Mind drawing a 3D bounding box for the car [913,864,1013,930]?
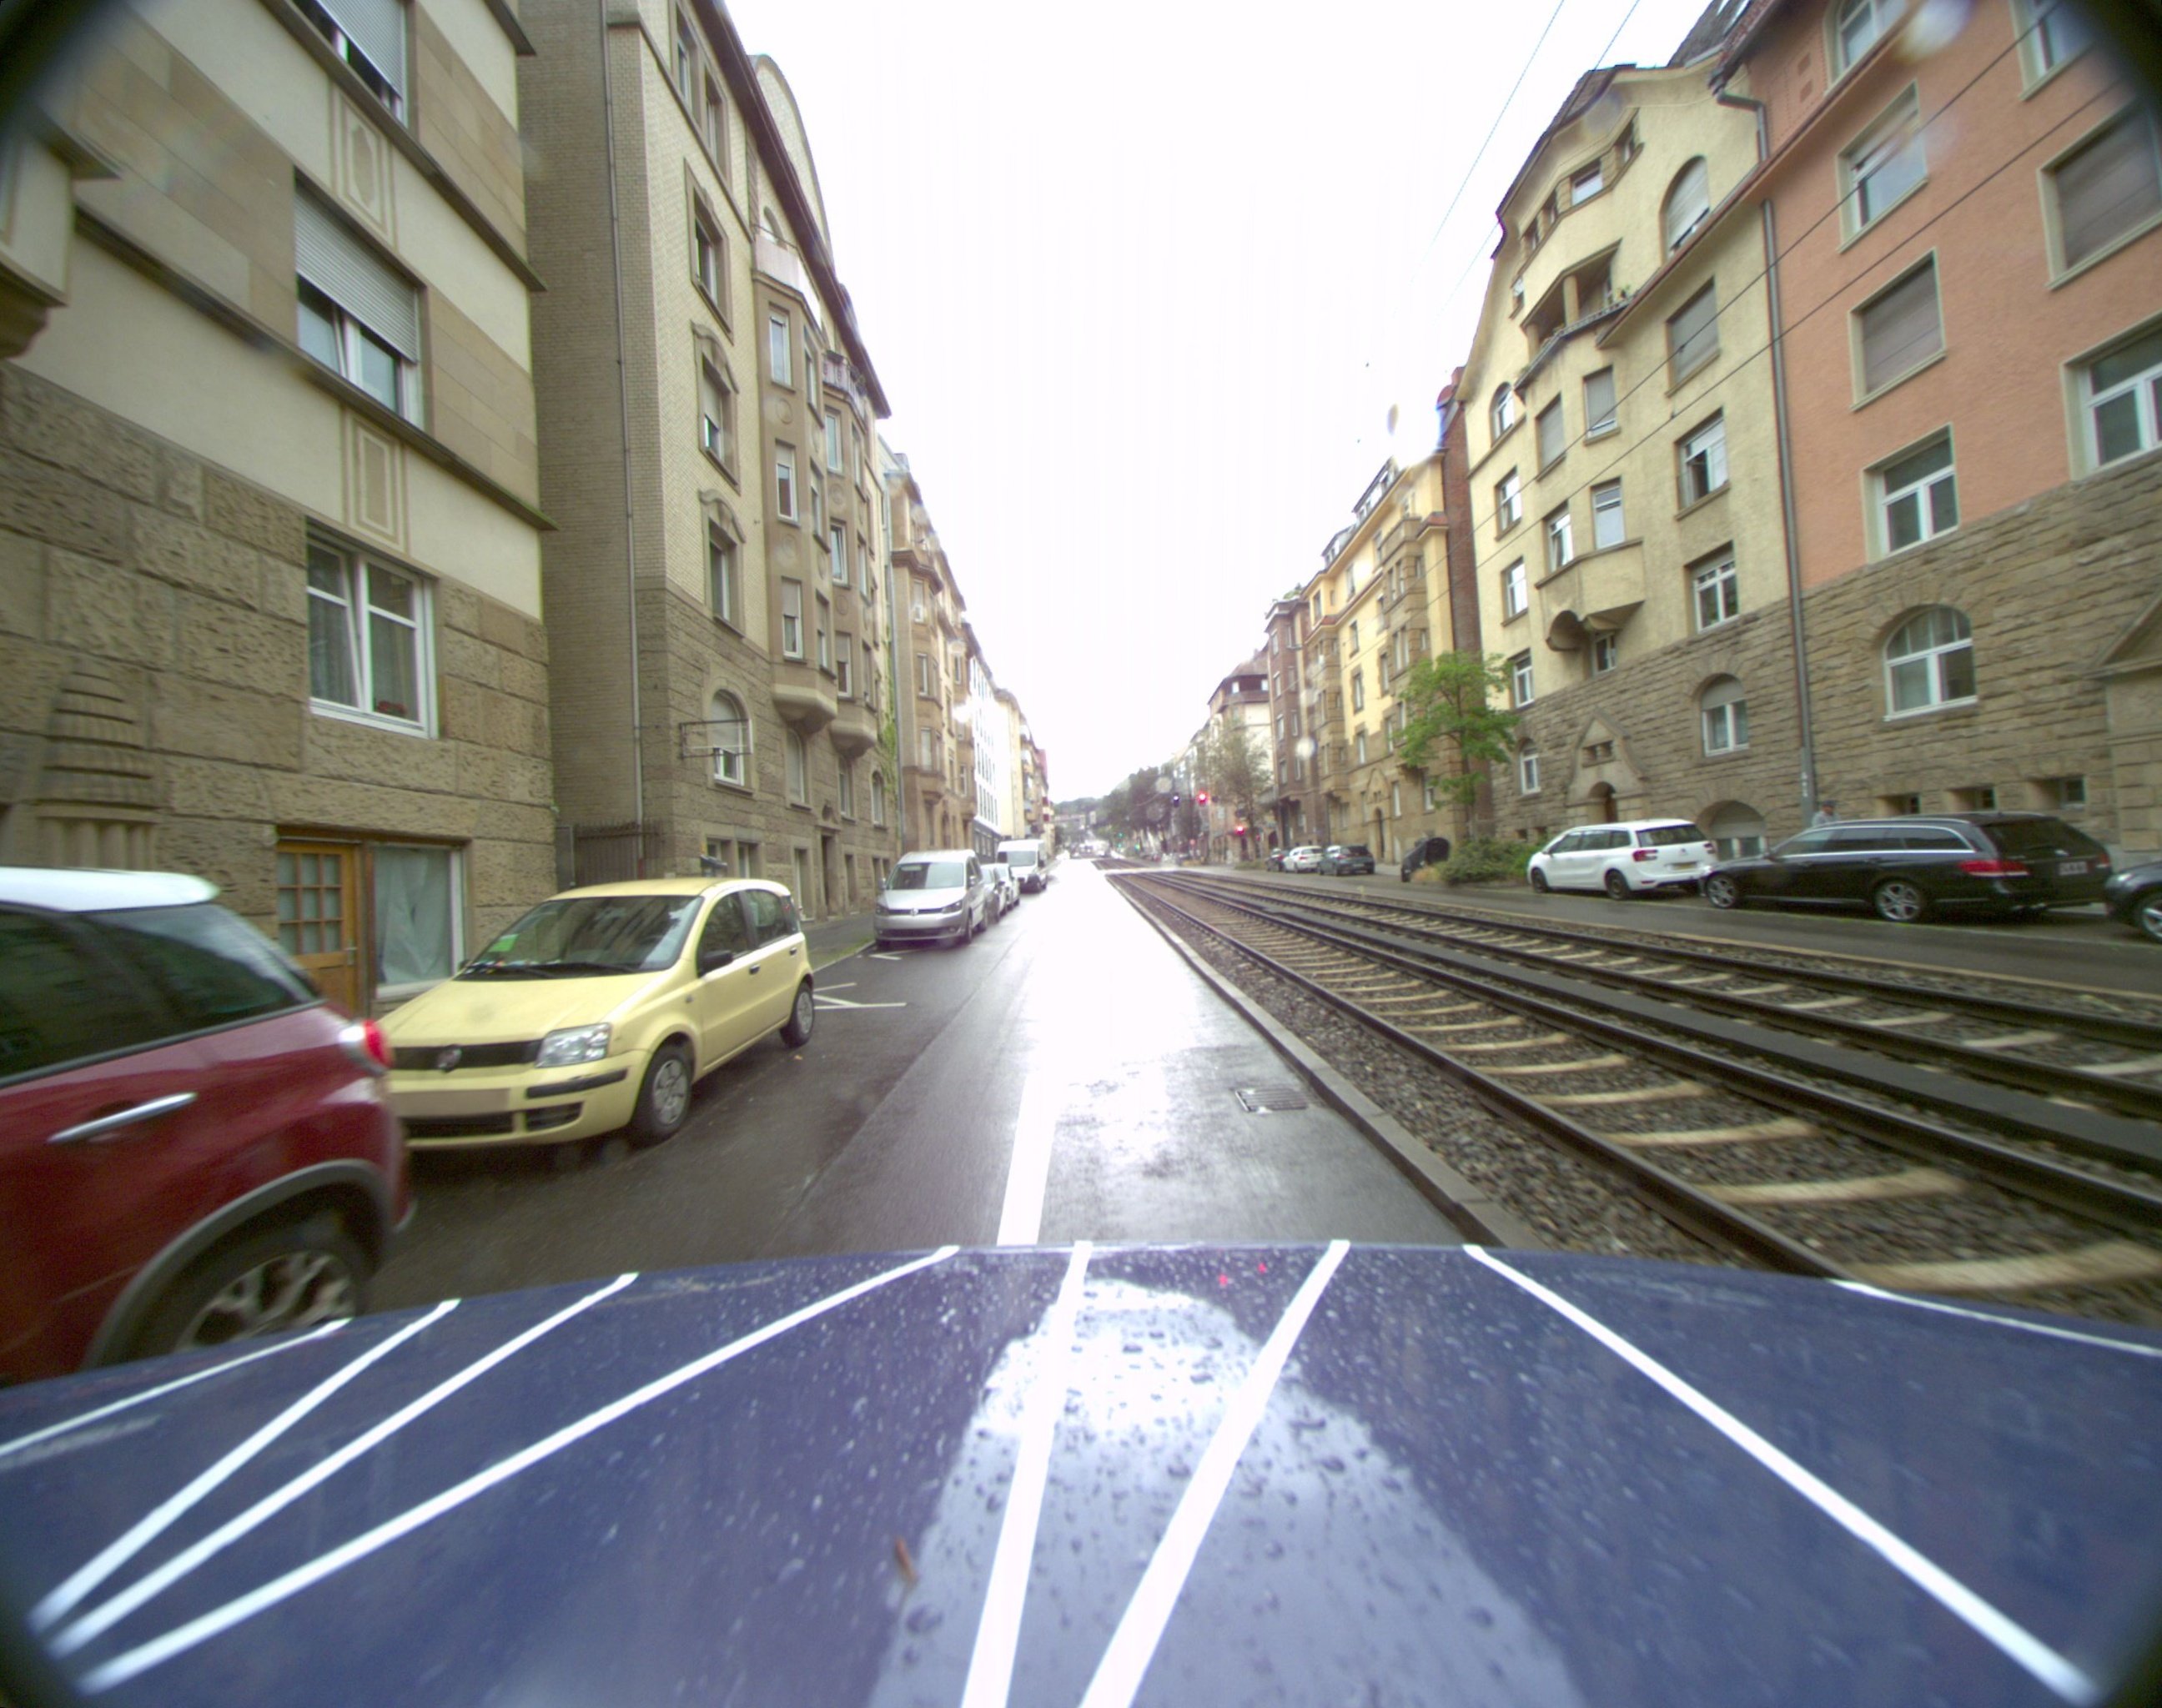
[{"bbox_3d":[-3.015,1.056,20.223,1.999,1.433,3.999,-2,1,0],"label":"car"}]

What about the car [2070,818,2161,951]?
[{"bbox_3d":[12.355,0.285,6.878,1.646,1.390,3.883,-3,0,-2],"label":"car"}]

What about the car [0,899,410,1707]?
[{"bbox_3d":[-3.030,0.999,0.438,1.715,1.619,3.999,-3,0,-2],"label":"car"}]

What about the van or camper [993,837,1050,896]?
[{"bbox_3d":[-2.711,0.513,36.197,2.069,2.455,6.118,-2,1,1],"label":"van or camper"}]

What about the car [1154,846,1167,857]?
[{"bbox_3d":[12.896,-0.421,123.284,1.780,1.560,4.158,-3,1,1],"label":"car"}]

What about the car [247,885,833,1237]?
[{"bbox_3d":[-3.183,1.074,5.403,1.563,1.469,3.460,-4,0,1],"label":"car"}]

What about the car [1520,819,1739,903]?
[{"bbox_3d":[12.222,0.140,17.368,1.789,1.580,4.350,-3,0,0],"label":"car"}]

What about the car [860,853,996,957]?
[{"bbox_3d":[-2.931,0.903,15.512,1.779,1.766,4.360,-2,0,1],"label":"car"}]

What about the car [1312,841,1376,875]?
[{"bbox_3d":[12.465,0.171,36.286,1.565,1.429,4.145,-4,0,1],"label":"car"}]

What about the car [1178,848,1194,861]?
[{"bbox_3d":[13.671,0.025,98.684,1.811,1.489,3.527,-4,0,5],"label":"car"}]

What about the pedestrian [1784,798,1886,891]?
[{"bbox_3d":[14.915,-0.177,15.058,1.010,1.743,0.924,-3,0,-2],"label":"pedestrian"}]

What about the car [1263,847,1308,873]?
[{"bbox_3d":[12.699,0.333,47.444,1.769,1.477,4.000,-3,1,1],"label":"car"}]

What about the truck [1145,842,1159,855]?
[{"bbox_3d":[13.468,-1.083,144.683,2.197,2.332,6.351,-2,2,2],"label":"truck"}]

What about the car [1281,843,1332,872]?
[{"bbox_3d":[12.461,0.179,42.244,1.671,1.417,4.262,-3,0,2],"label":"car"}]

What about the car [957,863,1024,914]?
[{"bbox_3d":[-2.870,1.062,24.867,1.680,1.403,4.000,-4,0,0],"label":"car"}]

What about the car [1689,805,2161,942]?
[{"bbox_3d":[12.310,0.228,11.634,1.998,1.500,4.974,-5,0,1],"label":"car"}]
